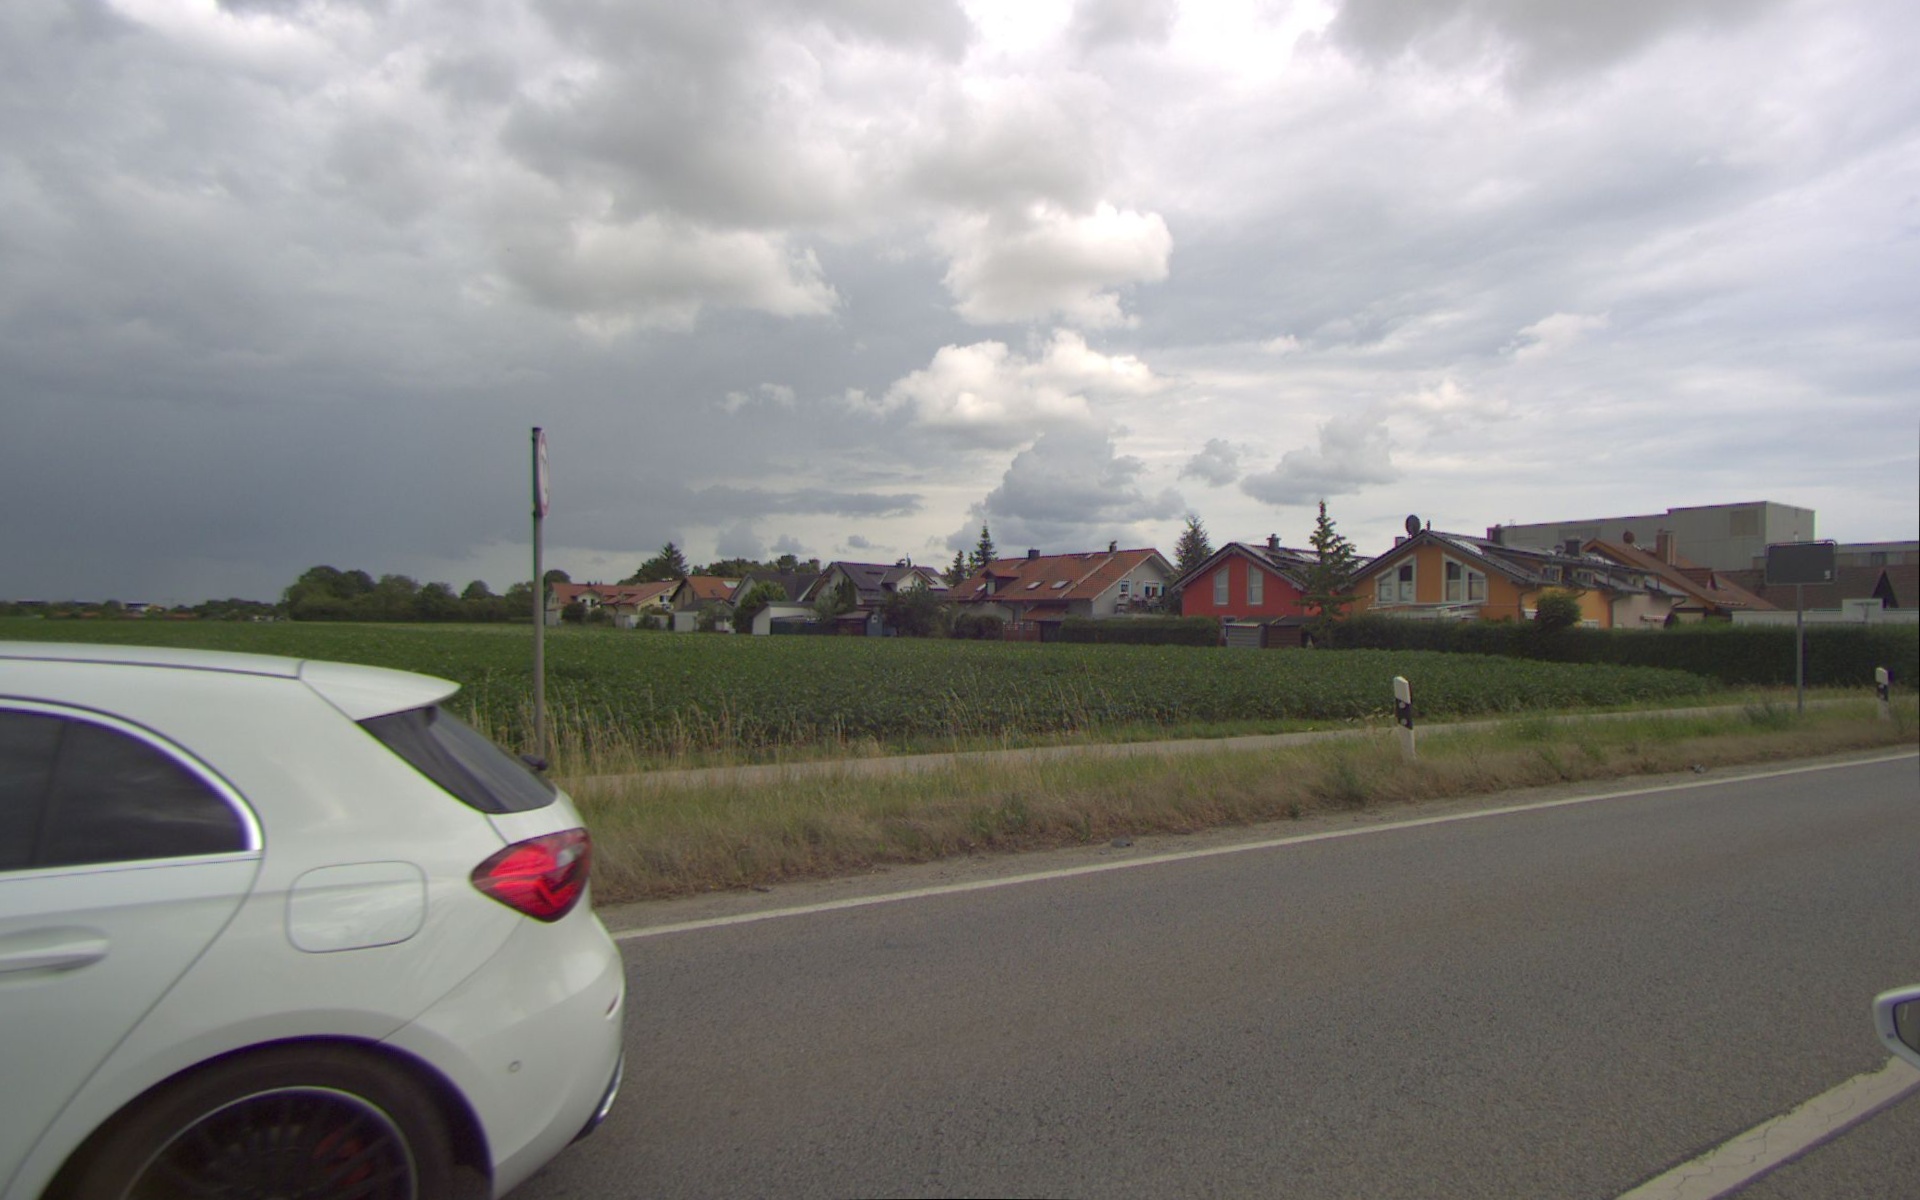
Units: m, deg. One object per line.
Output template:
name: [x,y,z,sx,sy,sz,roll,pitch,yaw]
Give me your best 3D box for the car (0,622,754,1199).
car: [-2.656,0.754,2.054,4.052,1.391,1.765,2,-3,-30]
